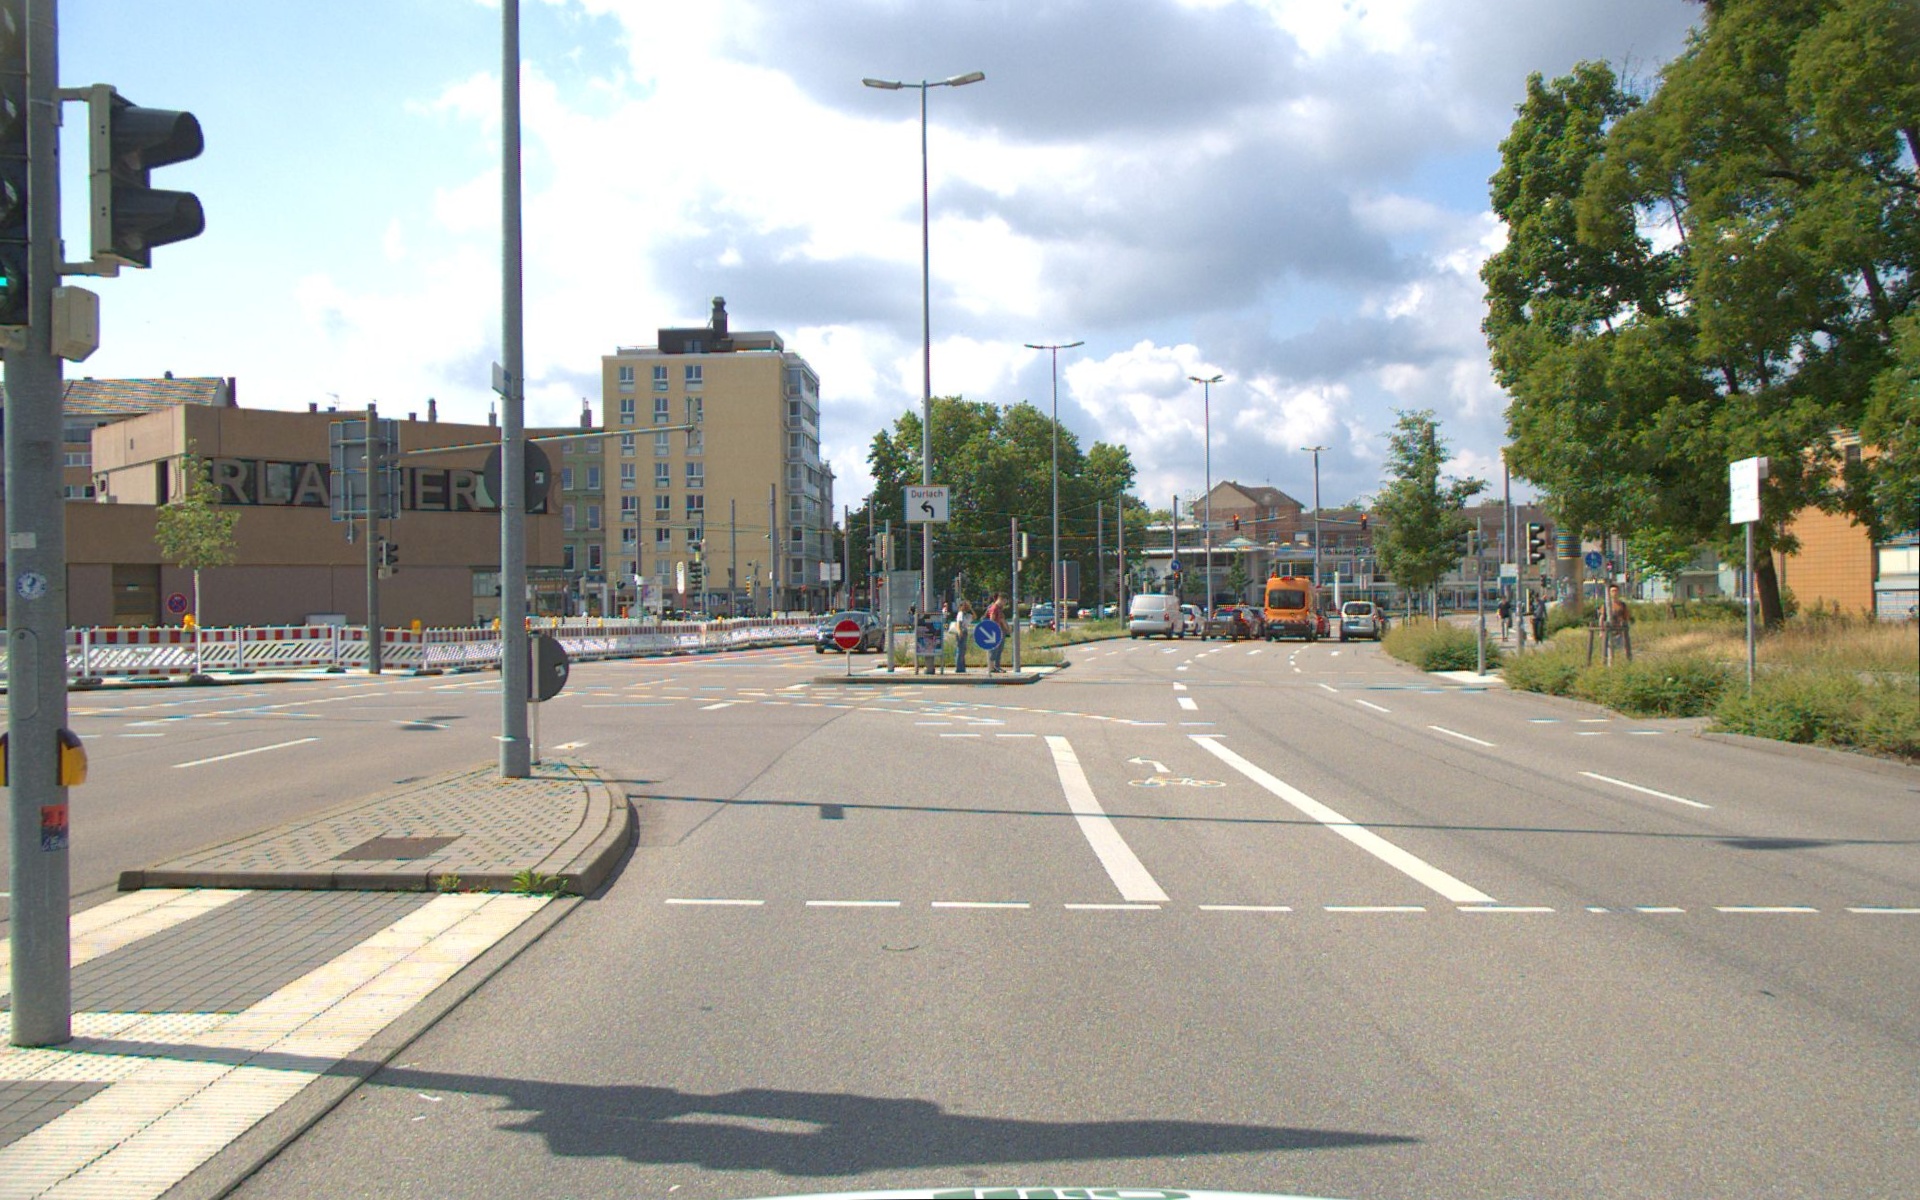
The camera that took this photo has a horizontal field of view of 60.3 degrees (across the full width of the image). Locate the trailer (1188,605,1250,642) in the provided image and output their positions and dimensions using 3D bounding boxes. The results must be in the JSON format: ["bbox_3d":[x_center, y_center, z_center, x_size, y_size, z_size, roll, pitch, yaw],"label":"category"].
[{"bbox_3d":[11.395,1.003,72.588,1.952,1.503,4.001,-2,0,20],"label":"trailer"}]

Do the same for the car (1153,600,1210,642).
[{"bbox_3d":[10.949,1.014,81.489,1.950,1.972,4.640,-2,0,18],"label":"car"}]

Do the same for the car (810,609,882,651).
[{"bbox_3d":[-4.034,1.049,59.037,1.754,1.412,4.230,-1,0,7],"label":"car"}]

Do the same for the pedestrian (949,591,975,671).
[{"bbox_3d":[0.047,0.684,36.699,0.513,1.764,0.624,-1,0,4],"label":"pedestrian"}]

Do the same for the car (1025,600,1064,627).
[{"bbox_3d":[4.906,0.780,96.108,1.626,1.506,4.065,2,0,12],"label":"car"}]

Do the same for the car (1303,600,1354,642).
[{"bbox_3d":[18.186,0.994,81.474,1.950,1.972,4.640,-2,0,18],"label":"car"}]

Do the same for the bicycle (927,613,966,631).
[{"bbox_3d":[-0.854,1.369,103.568,2.328,1.085,0.843,-1,0,15],"label":"bicycle"}]

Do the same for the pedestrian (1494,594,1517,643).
[{"bbox_3d":[20.675,0.693,62.693,0.771,1.815,0.667,-1,-1,18],"label":"pedestrian"}]

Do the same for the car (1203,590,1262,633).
[{"bbox_3d":[12.548,0.507,75.915,1.952,1.858,4.001,-2,-1,20],"label":"car"}]

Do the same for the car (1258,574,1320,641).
[{"bbox_3d":[14.683,0.333,73.552,2.085,2.829,4.640,-2,-1,18],"label":"car"}]

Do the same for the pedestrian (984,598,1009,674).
[{"bbox_3d":[0.843,0.822,37.940,0.513,1.713,0.624,-1,0,4],"label":"pedestrian"}]

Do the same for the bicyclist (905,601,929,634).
[{"bbox_3d":[-2.568,1.023,98.714,1.193,1.943,0.859,-1,-1,15],"label":"bicyclist"}]

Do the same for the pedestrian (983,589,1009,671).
[{"bbox_3d":[0.778,0.643,35.759,0.513,1.764,0.624,-1,0,4],"label":"pedestrian"}]

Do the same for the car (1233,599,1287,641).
[{"bbox_3d":[14.993,0.985,82.467,1.950,1.972,4.640,-2,0,18],"label":"car"}]

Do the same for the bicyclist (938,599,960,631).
[{"bbox_3d":[-0.674,0.938,103.523,1.193,1.943,0.835,-1,-1,15],"label":"bicyclist"}]

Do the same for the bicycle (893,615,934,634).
[{"bbox_3d":[-2.779,1.462,98.780,2.328,1.085,0.859,-1,0,15],"label":"bicycle"}]

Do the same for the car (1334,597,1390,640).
[{"bbox_3d":[18.117,0.827,74.430,1.952,1.826,4.001,-2,-1,20],"label":"car"}]

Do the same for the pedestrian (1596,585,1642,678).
[{"bbox_3d":[12.750,0.603,32.019,0.646,1.764,0.578,-1,0,2],"label":"pedestrian"}]

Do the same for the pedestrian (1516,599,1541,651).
[{"bbox_3d":[19.934,0.867,58.036,0.771,1.815,0.667,-1,-1,16],"label":"pedestrian"}]

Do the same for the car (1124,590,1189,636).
[{"bbox_3d":[8.967,0.570,75.128,1.963,2.001,4.640,-2,0,18],"label":"car"}]
